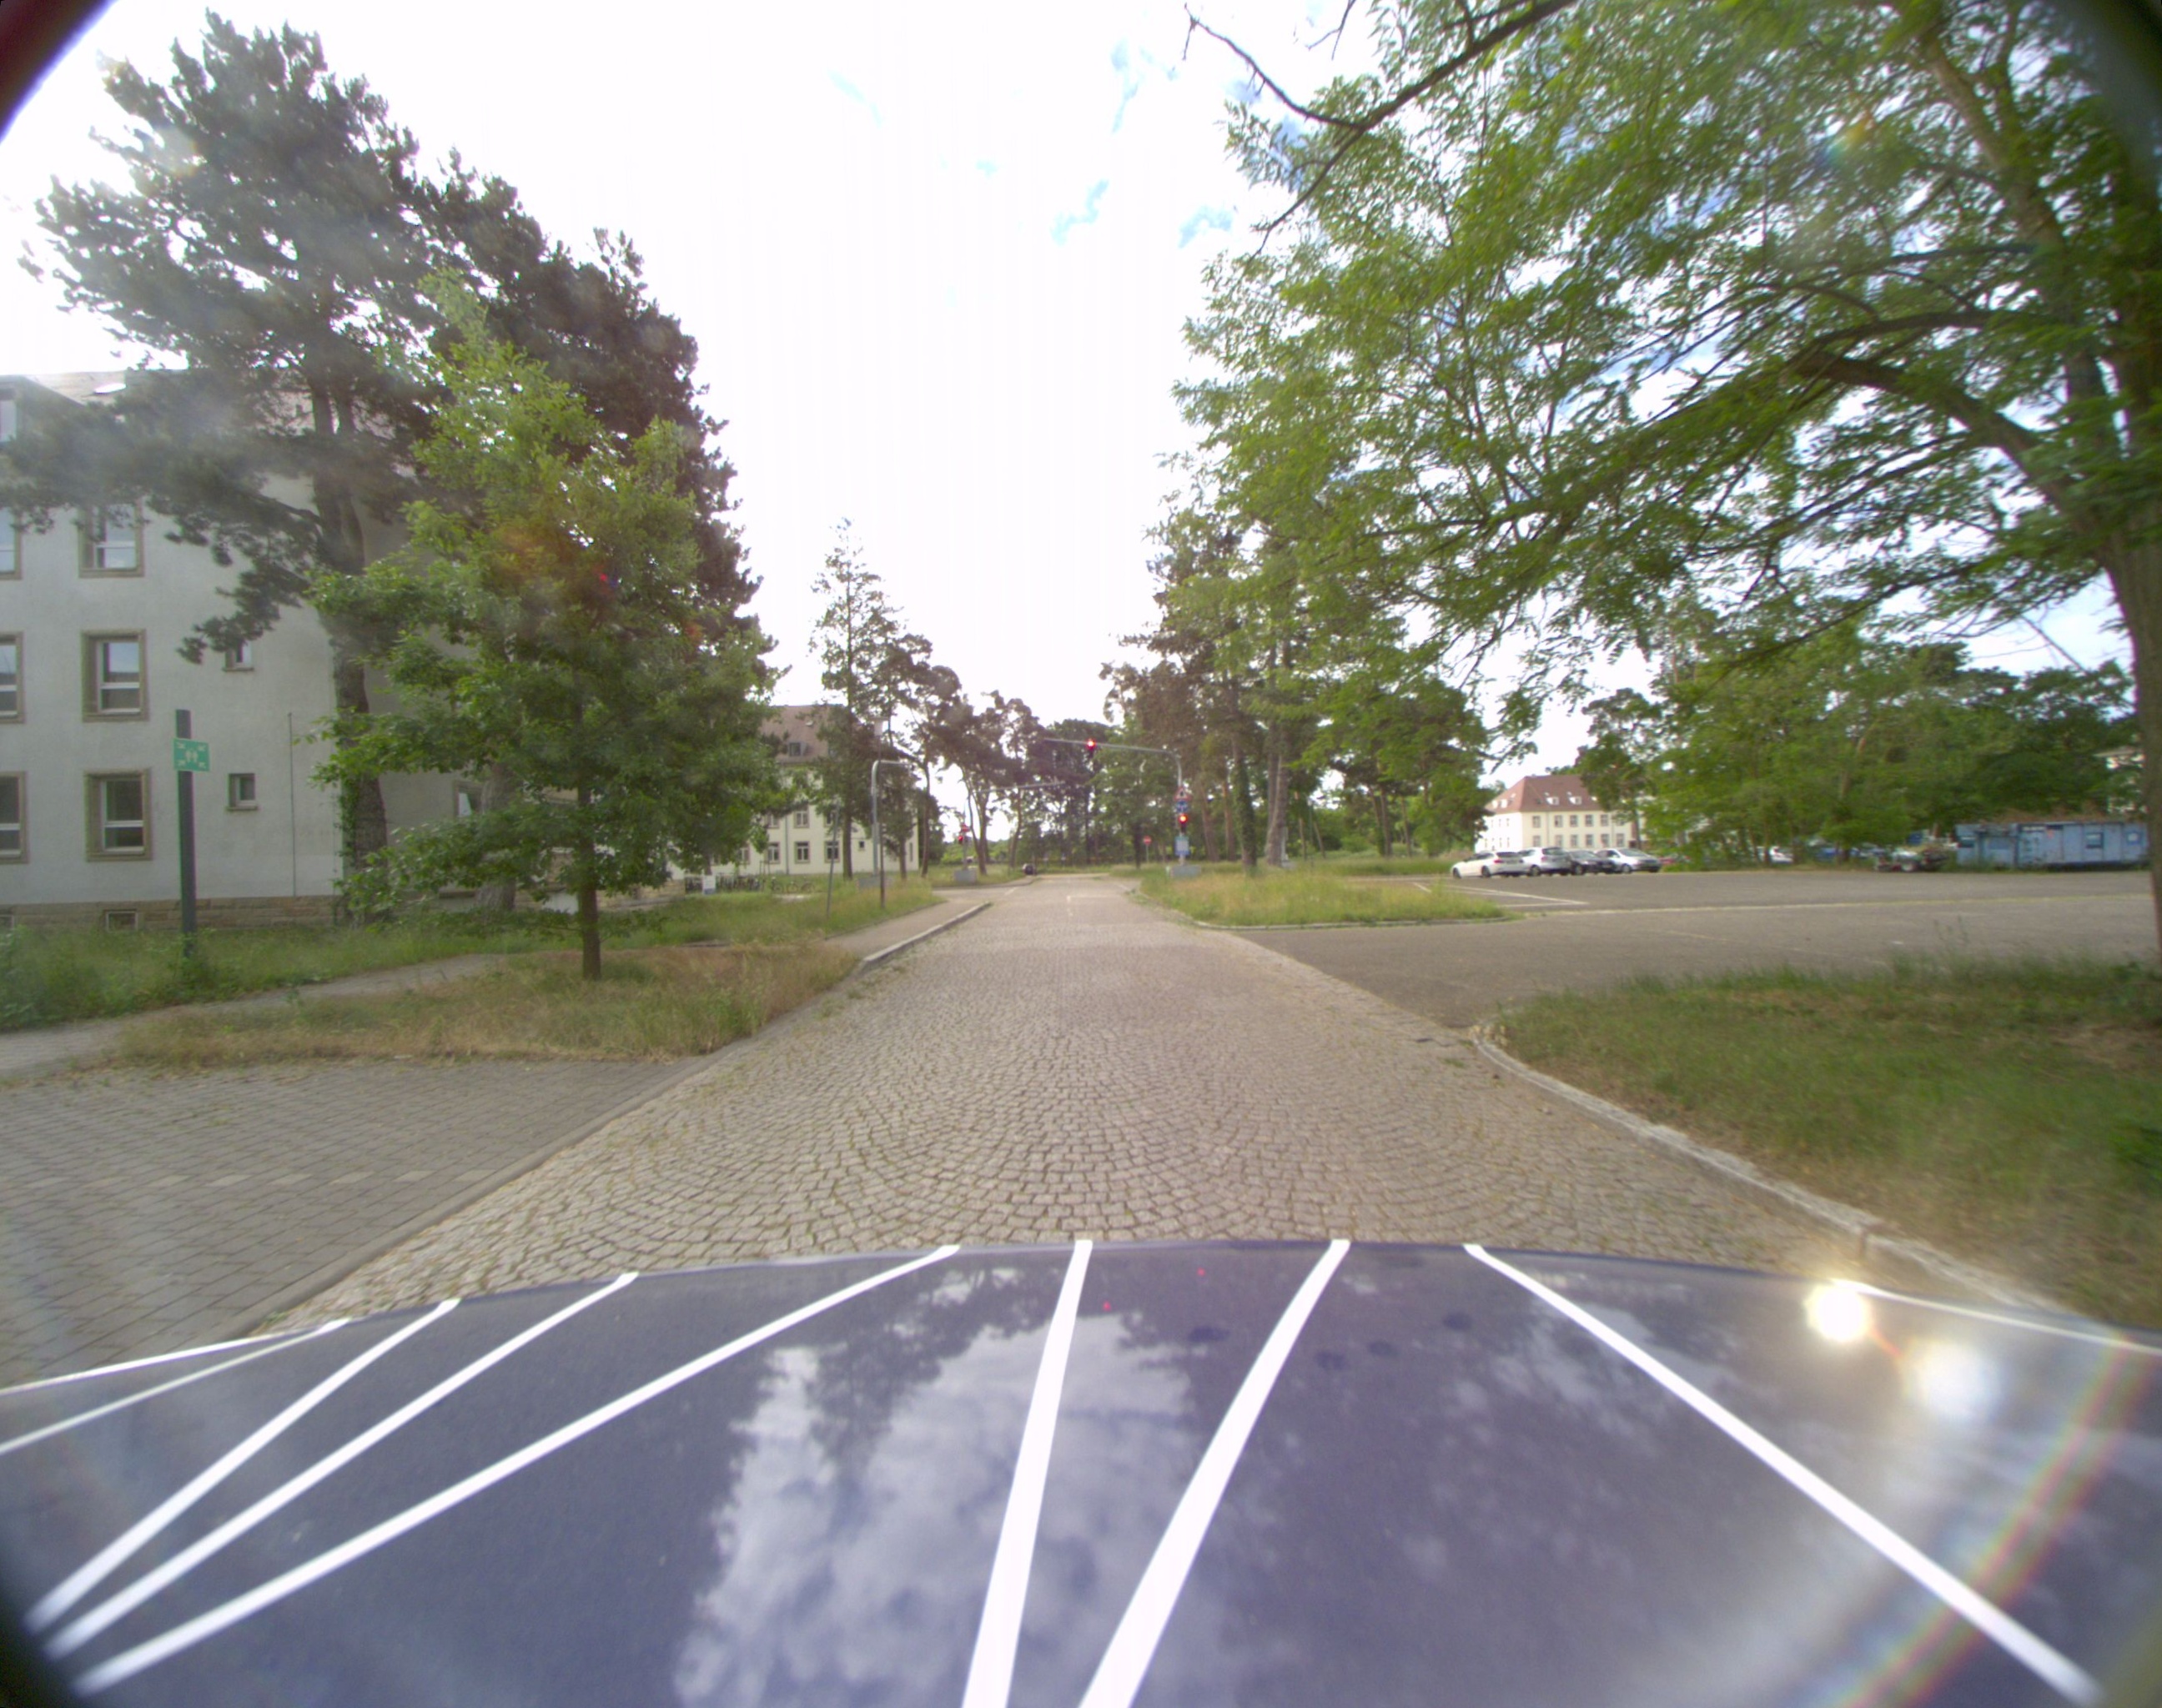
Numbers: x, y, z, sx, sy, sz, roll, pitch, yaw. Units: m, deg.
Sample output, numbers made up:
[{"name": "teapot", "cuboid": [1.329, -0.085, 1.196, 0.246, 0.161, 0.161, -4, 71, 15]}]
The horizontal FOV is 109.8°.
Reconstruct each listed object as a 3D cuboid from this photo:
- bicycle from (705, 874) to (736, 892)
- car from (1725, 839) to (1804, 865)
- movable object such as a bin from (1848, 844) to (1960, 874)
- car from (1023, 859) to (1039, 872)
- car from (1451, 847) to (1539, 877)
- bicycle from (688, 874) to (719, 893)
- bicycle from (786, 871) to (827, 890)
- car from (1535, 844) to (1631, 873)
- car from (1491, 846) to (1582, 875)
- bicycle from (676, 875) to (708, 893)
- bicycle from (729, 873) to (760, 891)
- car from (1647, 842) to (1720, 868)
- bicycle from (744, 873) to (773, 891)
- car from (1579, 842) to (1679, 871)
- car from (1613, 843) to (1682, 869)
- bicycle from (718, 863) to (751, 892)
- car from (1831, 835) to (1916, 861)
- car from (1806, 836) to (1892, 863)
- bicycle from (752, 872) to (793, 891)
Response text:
[{"name": "bicycle", "cuboid": [-22.452, 1.783, 47.317, 0.800, 1.051, 2.199, -1, 0, 2]}, {"name": "car", "cuboid": [46.705, -0.126, 52.014, 1.749, 1.674, 3.803, -2, 0, -6]}, {"name": "movable object such as a bin", "cuboid": [30.916, 0.195, 28.625, 1.057, 1.064, 2.719, -2, 0, -9]}, {"name": "car", "cuboid": [-6.821, 1.561, 103.471, 2.000, 1.777, 3.998, -2, 0, -7]}, {"name": "car", "cuboid": [21.773, 0.410, 40.193, 1.999, 1.441, 4.451, -2, 0, -4]}, {"name": "bicycle", "cuboid": [-23.318, 1.817, 46.976, 0.800, 1.051, 2.166, -1, 0, 2]}, {"name": "bicycle", "cuboid": [-16.601, 1.591, 46.016, 2.165, 1.088, 0.717, -1, 0, -4]}, {"name": "car", "cuboid": [26.853, 0.240, 40.844, 1.999, 1.441, 4.451, -2, 0, -4]}, {"name": "car", "cuboid": [24.273, 0.324, 40.709, 1.999, 1.441, 4.451, -2, 0, -4]}, {"name": "bicycle", "cuboid": [-24.124, 1.841, 47.169, 0.800, 1.051, 2.166, -1, 0, 2]}, {"name": "bicycle", "cuboid": [-20.840, 1.733, 47.095, 0.800, 1.051, 2.199, -1, 0, 2]}, {"name": "car", "cuboid": [41.138, 0.054, 52.019, 1.749, 1.674, 3.803, -2, 0, -6]}, {"name": "bicycle", "cuboid": [-19.990, 1.709, 47.099, 0.800, 1.051, 2.166, -1, 0, 2]}, {"name": "car", "cuboid": [29.727, 0.142, 41.413, 1.999, 1.441, 4.451, -2, 0, -4]}, {"name": "car", "cuboid": [38.435, 0.144, 51.678, 1.611, 1.674, 3.803, -2, 0, -6]}, {"name": "bicycle", "cuboid": [-21.614, 1.419, 47.416, 0.905, 1.721, 2.199, -1, 0, 2]}, {"name": "car", "cuboid": [54.510, -0.380, 52.361, 1.749, 1.674, 3.803, -2, 0, -6]}, {"name": "car", "cuboid": [51.830, -0.284, 51.372, 1.749, 1.674, 3.803, -2, 0, -6]}, {"name": "bicycle", "cuboid": [-18.684, 1.677, 46.044, 2.165, 1.051, 0.717, -1, 0, -4]}]
